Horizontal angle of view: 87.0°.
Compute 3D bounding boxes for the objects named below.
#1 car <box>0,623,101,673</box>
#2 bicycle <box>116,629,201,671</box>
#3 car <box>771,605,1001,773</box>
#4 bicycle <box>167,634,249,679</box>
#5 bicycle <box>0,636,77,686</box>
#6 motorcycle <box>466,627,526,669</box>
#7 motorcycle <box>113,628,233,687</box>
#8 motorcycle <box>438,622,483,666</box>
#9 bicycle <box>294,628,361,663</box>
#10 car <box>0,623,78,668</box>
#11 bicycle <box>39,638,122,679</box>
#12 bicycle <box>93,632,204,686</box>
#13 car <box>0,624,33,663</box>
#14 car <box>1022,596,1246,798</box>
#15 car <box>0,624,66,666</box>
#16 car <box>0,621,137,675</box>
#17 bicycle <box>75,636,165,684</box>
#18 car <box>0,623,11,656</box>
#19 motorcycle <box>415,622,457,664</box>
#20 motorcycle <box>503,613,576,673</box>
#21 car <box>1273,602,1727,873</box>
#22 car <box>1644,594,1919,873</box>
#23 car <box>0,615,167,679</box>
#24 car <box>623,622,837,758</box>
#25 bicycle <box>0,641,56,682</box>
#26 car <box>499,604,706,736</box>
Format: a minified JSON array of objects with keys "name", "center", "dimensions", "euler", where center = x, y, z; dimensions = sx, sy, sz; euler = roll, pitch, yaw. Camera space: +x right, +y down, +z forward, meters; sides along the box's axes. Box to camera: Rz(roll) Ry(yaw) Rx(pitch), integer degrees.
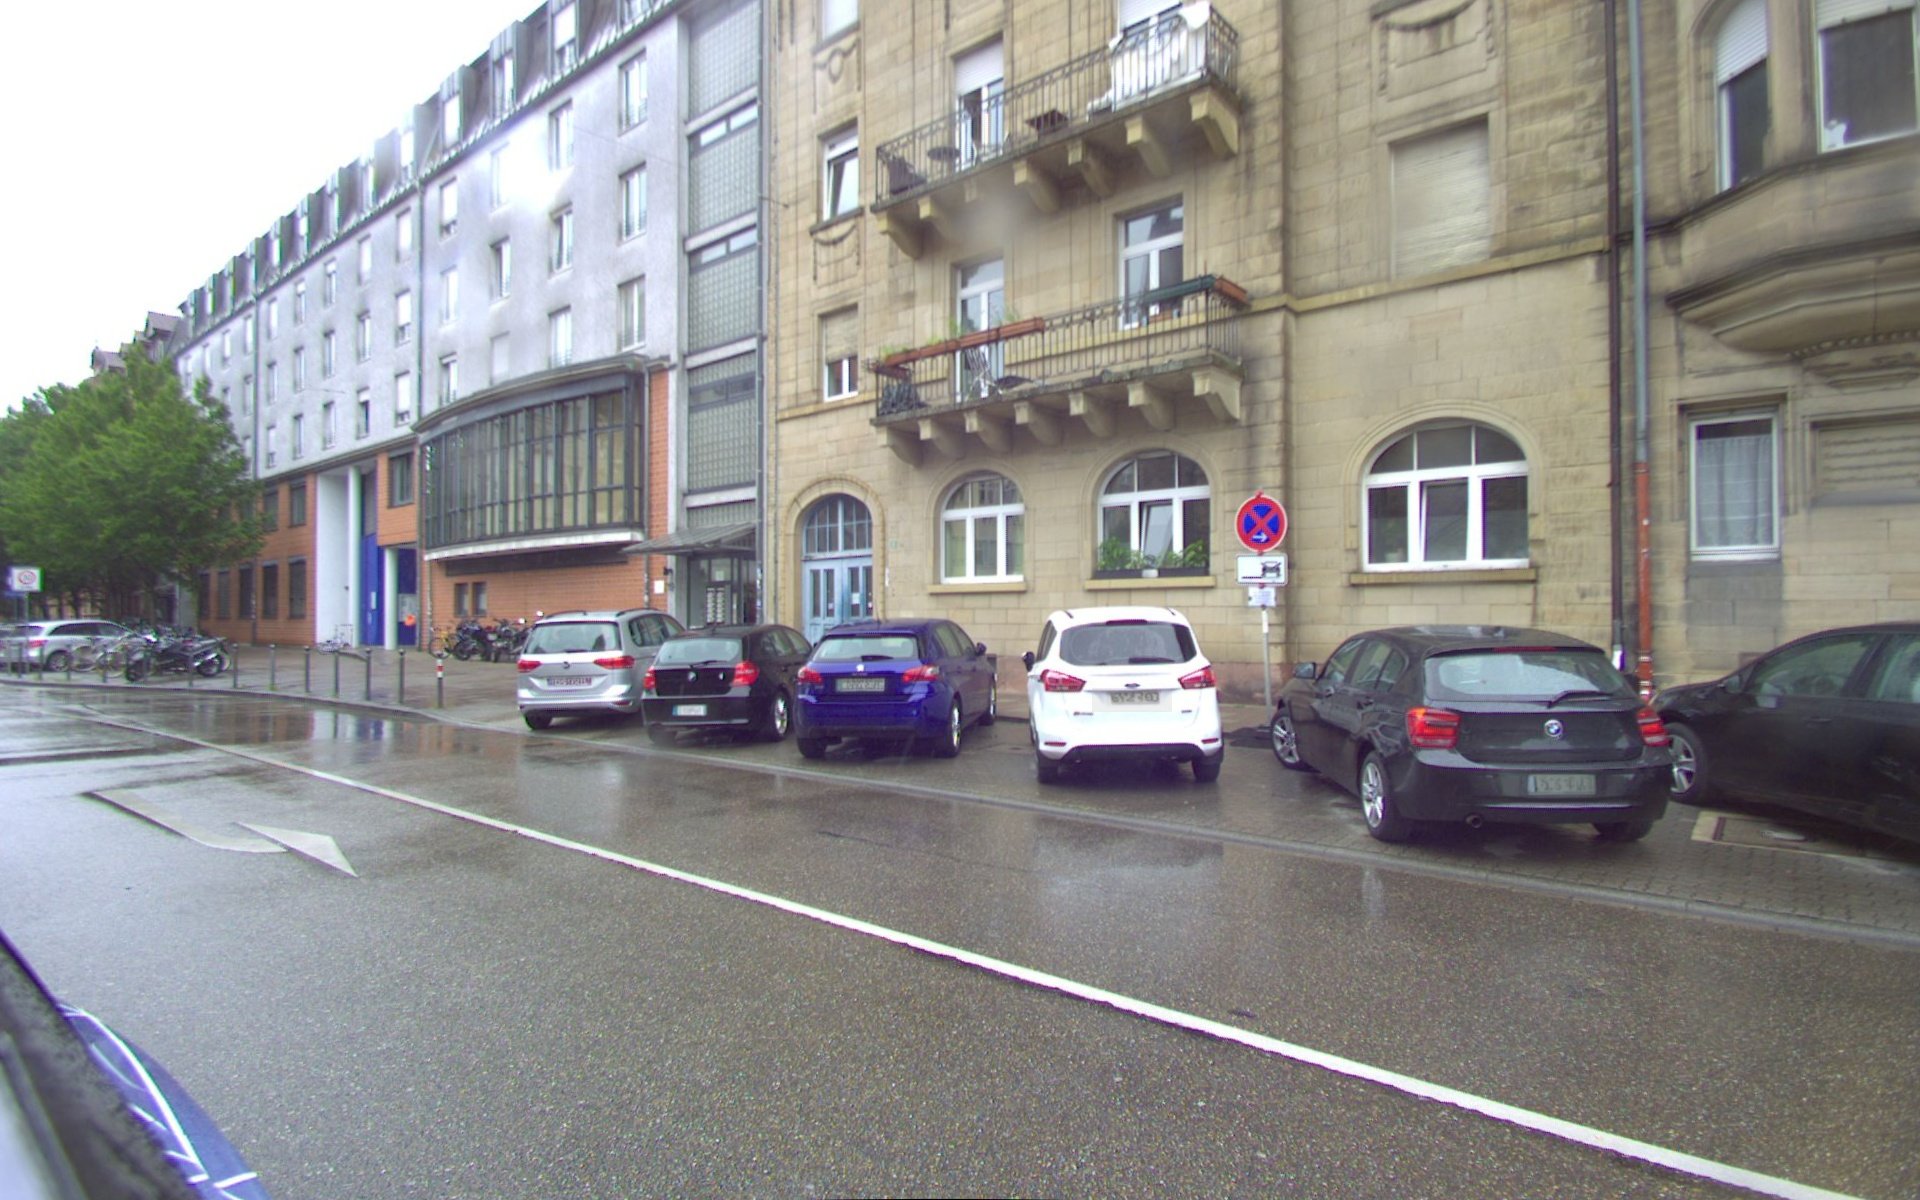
[{"name":"car","center":[-33.421,1.685,36.110],"dimensions":[1.992,1.728,3.762],"euler":[-1,-2,30]},{"name":"bicycle","center":[-21.301,1.329,26.927],"dimensions":[0.544,1.081,1.667],"euler":[-1,-3,38]},{"name":"car","center":[-0.686,0.889,11.995],"dimensions":[1.881,1.539,3.716],"euler":[0,1,10]},{"name":"bicycle","center":[-20.131,1.498,27.111],"dimensions":[0.544,1.081,1.667],"euler":[-1,1,38]},{"name":"bicycle","center":[-23.464,1.541,25.525],"dimensions":[0.544,1.081,1.668],"euler":[-1,3,38]},{"name":"motorcycle","center":[-12.778,1.305,27.836],"dimensions":[2.361,1.110,0.591],"euler":[-1,-3,41]},{"name":"motorcycle","center":[-19.409,1.387,24.997],"dimensions":[0.758,1.320,2.226],"euler":[-1,0,41]},{"name":"motorcycle","center":[-14.457,1.259,29.279],"dimensions":[1.676,1.238,0.539],"euler":[-1,-3,41]},{"name":"bicycle","center":[-22.552,1.618,36.115],"dimensions":[1.873,1.234,0.939],"euler":[1,-2,-23]},{"name":"car","center":[-37.552,1.782,39.873],"dimensions":[1.992,1.728,3.762],"euler":[-1,-2,30]},{"name":"bicycle","center":[-24.313,1.606,28.004],"dimensions":[0.544,1.081,1.667],"euler":[-1,-2,38]},{"name":"bicycle","center":[-20.338,1.455,25.395],"dimensions":[0.772,1.181,2.024],"euler":[-1,1,38]},{"name":"car","center":[-43.388,1.911,44.278],"dimensions":[1.992,1.728,3.762],"euler":[-1,-2,30]},{"name":"car","center":[1.554,0.809,10.289],"dimensions":[1.755,1.639,3.724],"euler":[-2,0,3]},{"name":"car","center":[-40.066,1.868,42.189],"dimensions":[1.992,1.728,3.762],"euler":[-1,-2,30]},{"name":"car","center":[-30.770,1.618,34.487],"dimensions":[1.992,1.728,3.762],"euler":[-1,-2,30]},{"name":"bicycle","center":[-21.322,1.514,25.718],"dimensions":[0.544,1.081,1.667],"euler":[-1,1,38]},{"name":"car","center":[-52.082,2.061,52.485],"dimensions":[1.899,1.728,3.762],"euler":[-1,-2,30]},{"name":"motorcycle","center":[-15.777,1.276,30.451],"dimensions":[1.676,1.238,0.539],"euler":[-1,-3,41]},{"name":"motorcycle","center":[-10.841,1.097,26.066],"dimensions":[2.361,1.474,0.767],"euler":[-1,-3,41]},{"name":"car","center":[3.733,0.825,7.820],"dimensions":[1.757,1.555,3.721],"euler":[-2,0,6]},{"name":"car","center":[6.268,0.758,6.182],"dimensions":[1.606,1.555,3.758],"euler":[-2,0,1]},{"name":"car","center":[-27.293,1.429,31.303],"dimensions":[1.981,1.828,3.981],"euler":[0,-2,14]},{"name":"car","center":[-2.877,1.086,13.476],"dimensions":[1.697,1.539,3.721],"euler":[0,-2,6]},{"name":"bicycle","center":[-25.877,1.677,27.621],"dimensions":[0.544,1.081,1.667],"euler":[-1,-4,38]},{"name":"car","center":[-5.255,0.992,15.438],"dimensions":[1.791,1.743,3.923],"euler":[0,-2,-1]}]
